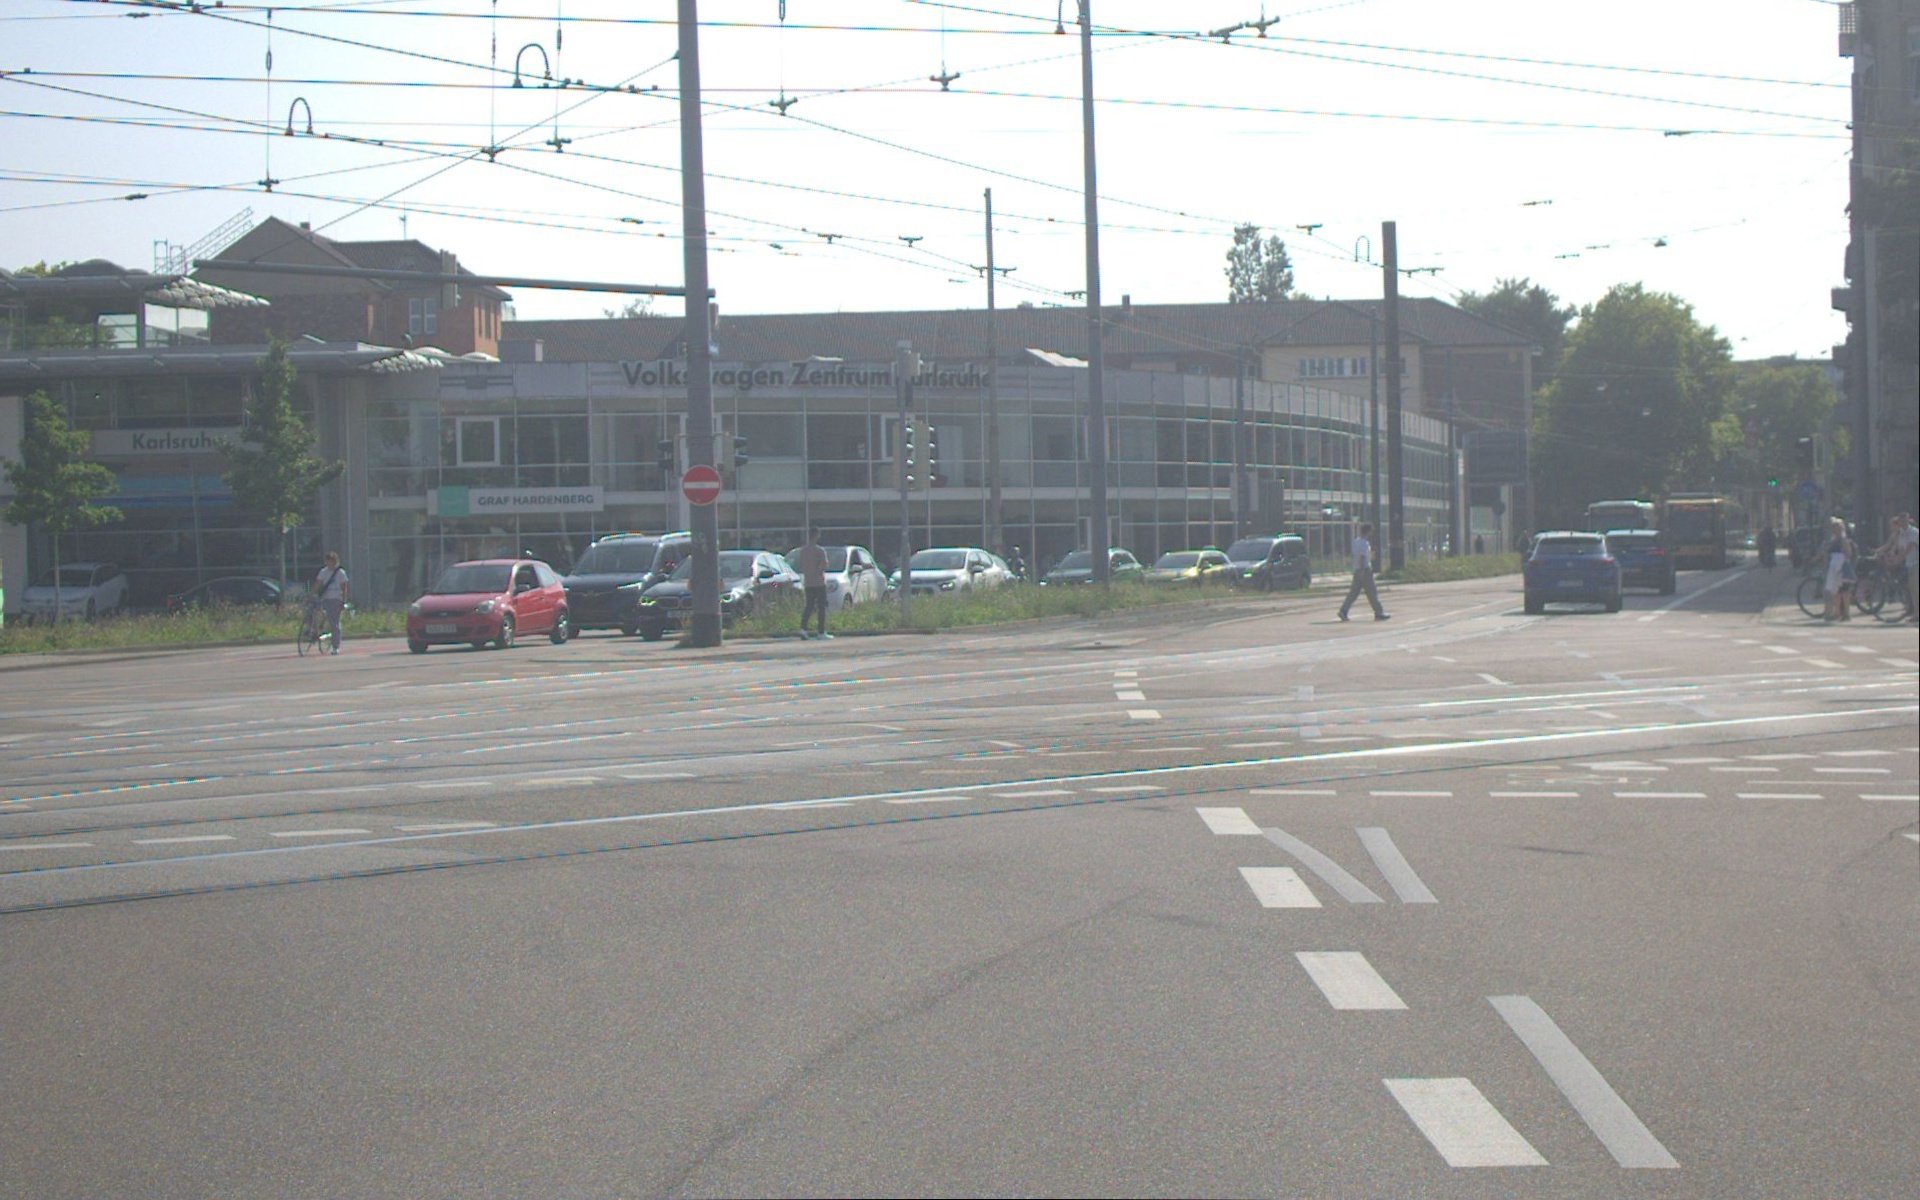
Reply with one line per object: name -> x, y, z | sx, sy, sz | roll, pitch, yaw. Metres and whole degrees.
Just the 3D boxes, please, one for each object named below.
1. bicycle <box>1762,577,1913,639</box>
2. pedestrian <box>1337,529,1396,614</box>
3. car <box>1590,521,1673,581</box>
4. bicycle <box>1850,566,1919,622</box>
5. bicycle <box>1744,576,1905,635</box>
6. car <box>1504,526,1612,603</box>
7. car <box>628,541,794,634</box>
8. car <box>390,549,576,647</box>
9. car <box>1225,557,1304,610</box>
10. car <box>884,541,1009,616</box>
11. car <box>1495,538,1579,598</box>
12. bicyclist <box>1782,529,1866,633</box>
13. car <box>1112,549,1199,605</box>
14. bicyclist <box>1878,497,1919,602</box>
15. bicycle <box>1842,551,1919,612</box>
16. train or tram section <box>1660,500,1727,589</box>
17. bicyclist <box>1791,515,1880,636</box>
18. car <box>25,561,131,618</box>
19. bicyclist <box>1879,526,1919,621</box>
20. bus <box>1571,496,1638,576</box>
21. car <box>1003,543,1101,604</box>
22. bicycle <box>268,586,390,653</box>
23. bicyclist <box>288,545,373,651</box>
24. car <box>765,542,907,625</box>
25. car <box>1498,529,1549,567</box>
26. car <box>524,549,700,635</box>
bicycle -> 14.854, 0.126, 58.156 | 2.619, 0.961, 1.093 | -2, 1, -38
pedestrian -> 7.297, -0.509, 61.777 | 0.777, 1.498, 0.710 | -1, 1, -23
car -> 16.611, -1.227, 84.919 | 1.826, 1.423, 4.410 | -1, 1, 13
bicycle -> 17.473, -0.125, 62.035 | 2.617, 0.961, 1.093 | -1, 1, -25
bicycle -> 15.197, 0.087, 60.436 | 2.617, 0.961, 1.093 | -1, 1, -25
car -> 11.720, -0.717, 67.236 | 1.826, 1.423, 4.410 | -1, 1, 13
car -> -4.231, -0.238, 59.021 | 1.615, 1.470, 3.998 | -3, 0, 14
car -> -7.829, -0.056, 56.795 | 1.615, 1.470, 3.998 | -3, 0, 14
car -> 9.089, -0.504, 102.329 | 1.615, 1.470, 3.997 | -3, 0, 15
car -> -0.252, -0.465, 72.909 | 1.615, 1.470, 3.997 | -3, 0, 15
car -> 15.792, -0.887, 93.893 | 1.827, 1.530, 4.409 | -1, 1, 15
bicyclist -> 15.177, -0.332, 60.421 | 0.934, 1.793, 1.093 | -1, 1, -25
car -> 5.515, -0.662, 96.749 | 1.615, 1.470, 3.997 | -3, 0, 15
bicyclist -> 15.851, -0.834, 56.517 | 0.934, 1.702, 1.093 | -2, 1, -38
bicycle -> 15.750, -0.320, 56.432 | 2.619, 0.961, 1.093 | -2, 1, -38
train or tram section -> 31.918, -2.453, 149.637 | 2.656, 3.686, 10.584 | -1, 1, 12
bicyclist -> 14.808, -0.416, 58.124 | 0.934, 2.017, 1.093 | -2, 1, -38
car -> -24.552, -0.307, 95.808 | 1.700, 1.517, 4.099 | -1, 1, 3
bicyclist -> 17.294, -0.486, 61.942 | 0.934, 1.674, 1.093 | -1, 1, -25
bus -> 30.827, -3.056, 164.868 | 2.922, 3.606, 16.740 | -1, 1, 10
car -> 2.430, -0.697, 89.620 | 1.615, 1.470, 3.997 | -3, 0, 15
bicycle -> -10.442, 0.315, 57.002 | 0.958, 1.053, 2.606 | -1, 1, 15
bicyclist -> -10.438, -0.039, 57.024 | 0.958, 1.742, 1.165 | -1, 1, 15
car -> -2.341, -0.339, 65.740 | 1.615, 1.470, 3.998 | -3, 0, 14
car -> 23.303, -2.150, 142.149 | 1.615, 1.470, 3.997 | -3, 0, 15
car -> -6.437, -0.169, 64.033 | 1.961, 1.470, 3.998 | -3, 0, 14
